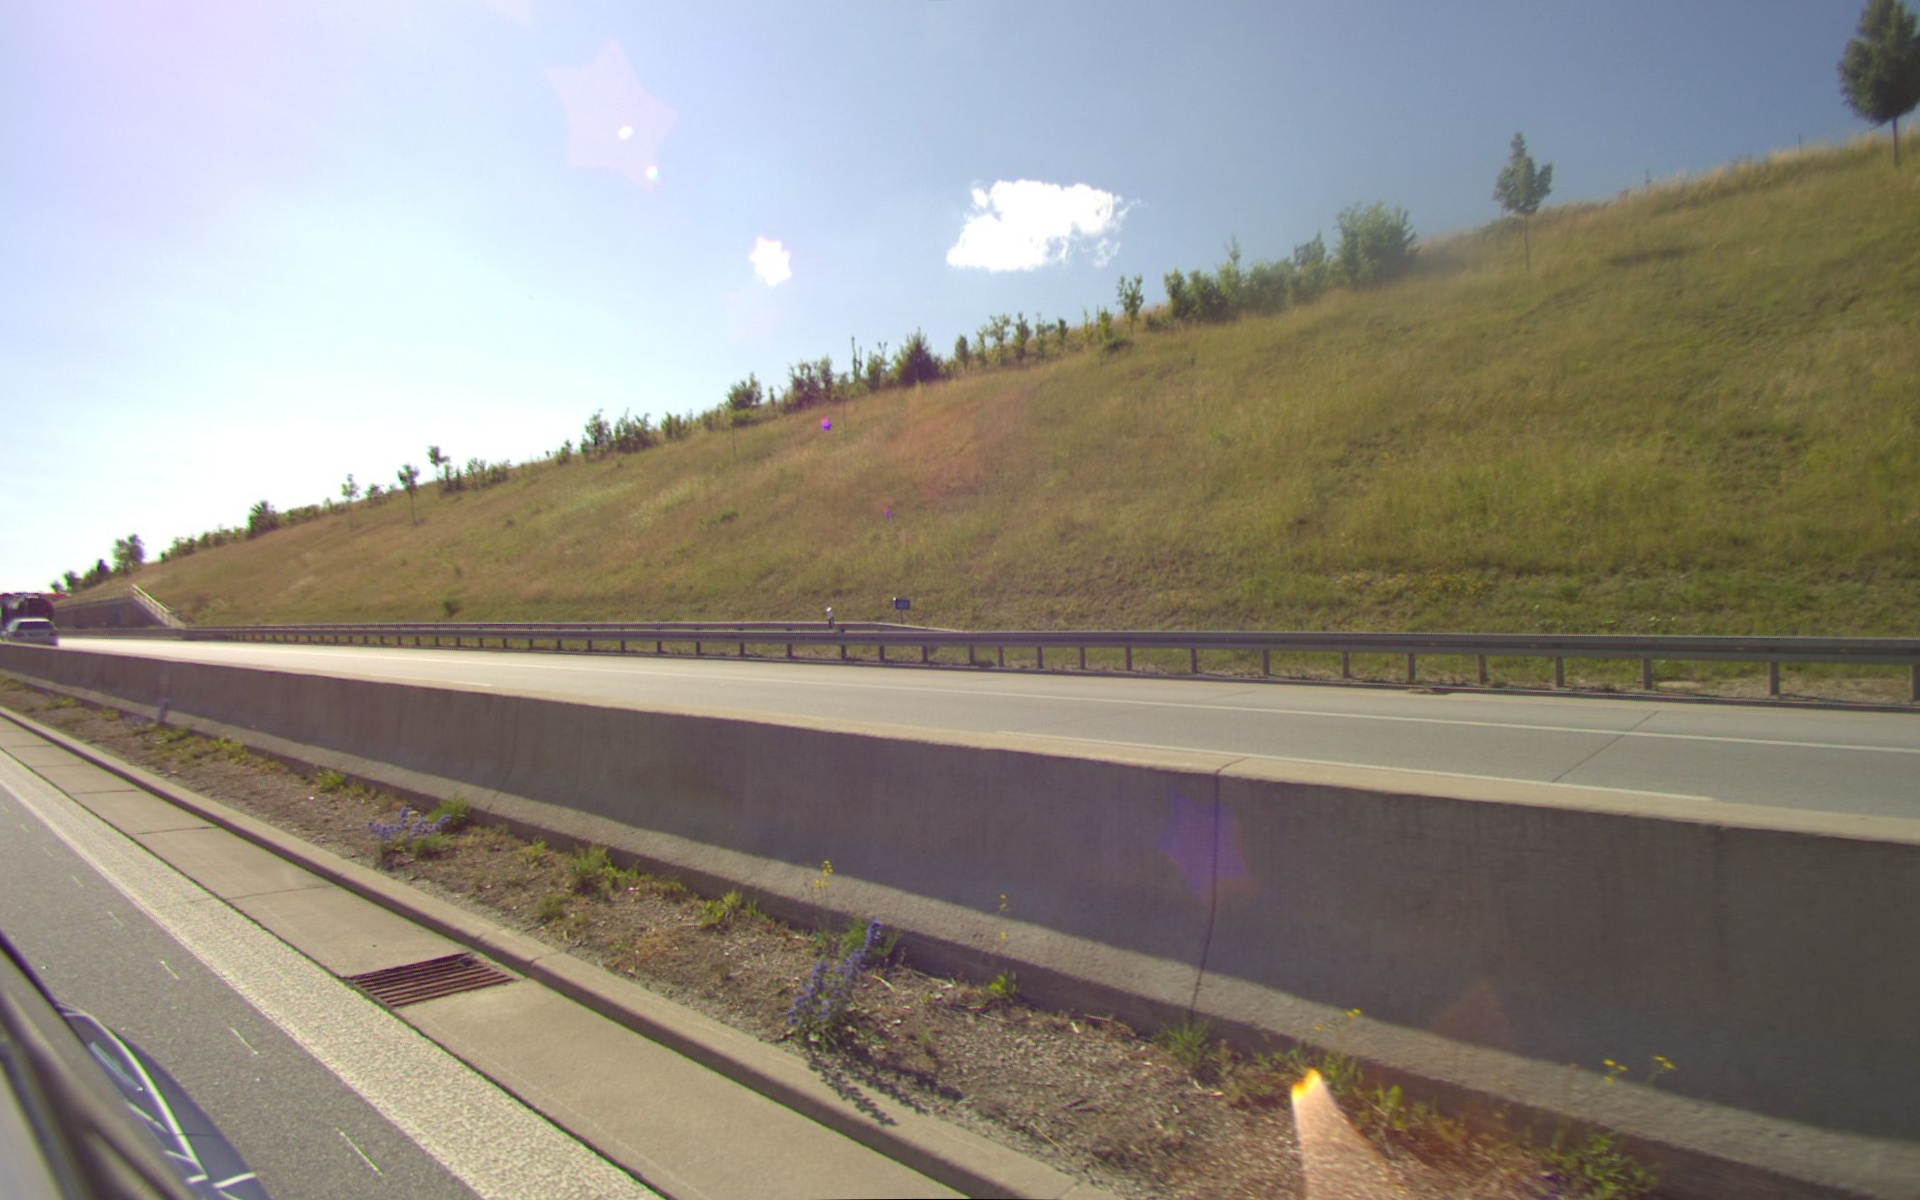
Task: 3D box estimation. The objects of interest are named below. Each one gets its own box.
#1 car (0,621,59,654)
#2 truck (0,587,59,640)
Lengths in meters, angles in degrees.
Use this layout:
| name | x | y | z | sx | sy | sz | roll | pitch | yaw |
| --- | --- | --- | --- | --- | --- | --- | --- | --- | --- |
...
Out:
| name | x | y | z | sx | sy | sz | roll | pitch | yaw |
| --- | --- | --- | --- | --- | --- | --- | --- | --- | --- |
| car | -45.487 | 1.806 | 49.221 | 4.724 | 1.472 | 1.835 | -2 | 0 | 40 |
| truck | -74.442 | 1.085 | 80.355 | 12.441 | 3.971 | 2.728 | -1 | -1 | 41 |
